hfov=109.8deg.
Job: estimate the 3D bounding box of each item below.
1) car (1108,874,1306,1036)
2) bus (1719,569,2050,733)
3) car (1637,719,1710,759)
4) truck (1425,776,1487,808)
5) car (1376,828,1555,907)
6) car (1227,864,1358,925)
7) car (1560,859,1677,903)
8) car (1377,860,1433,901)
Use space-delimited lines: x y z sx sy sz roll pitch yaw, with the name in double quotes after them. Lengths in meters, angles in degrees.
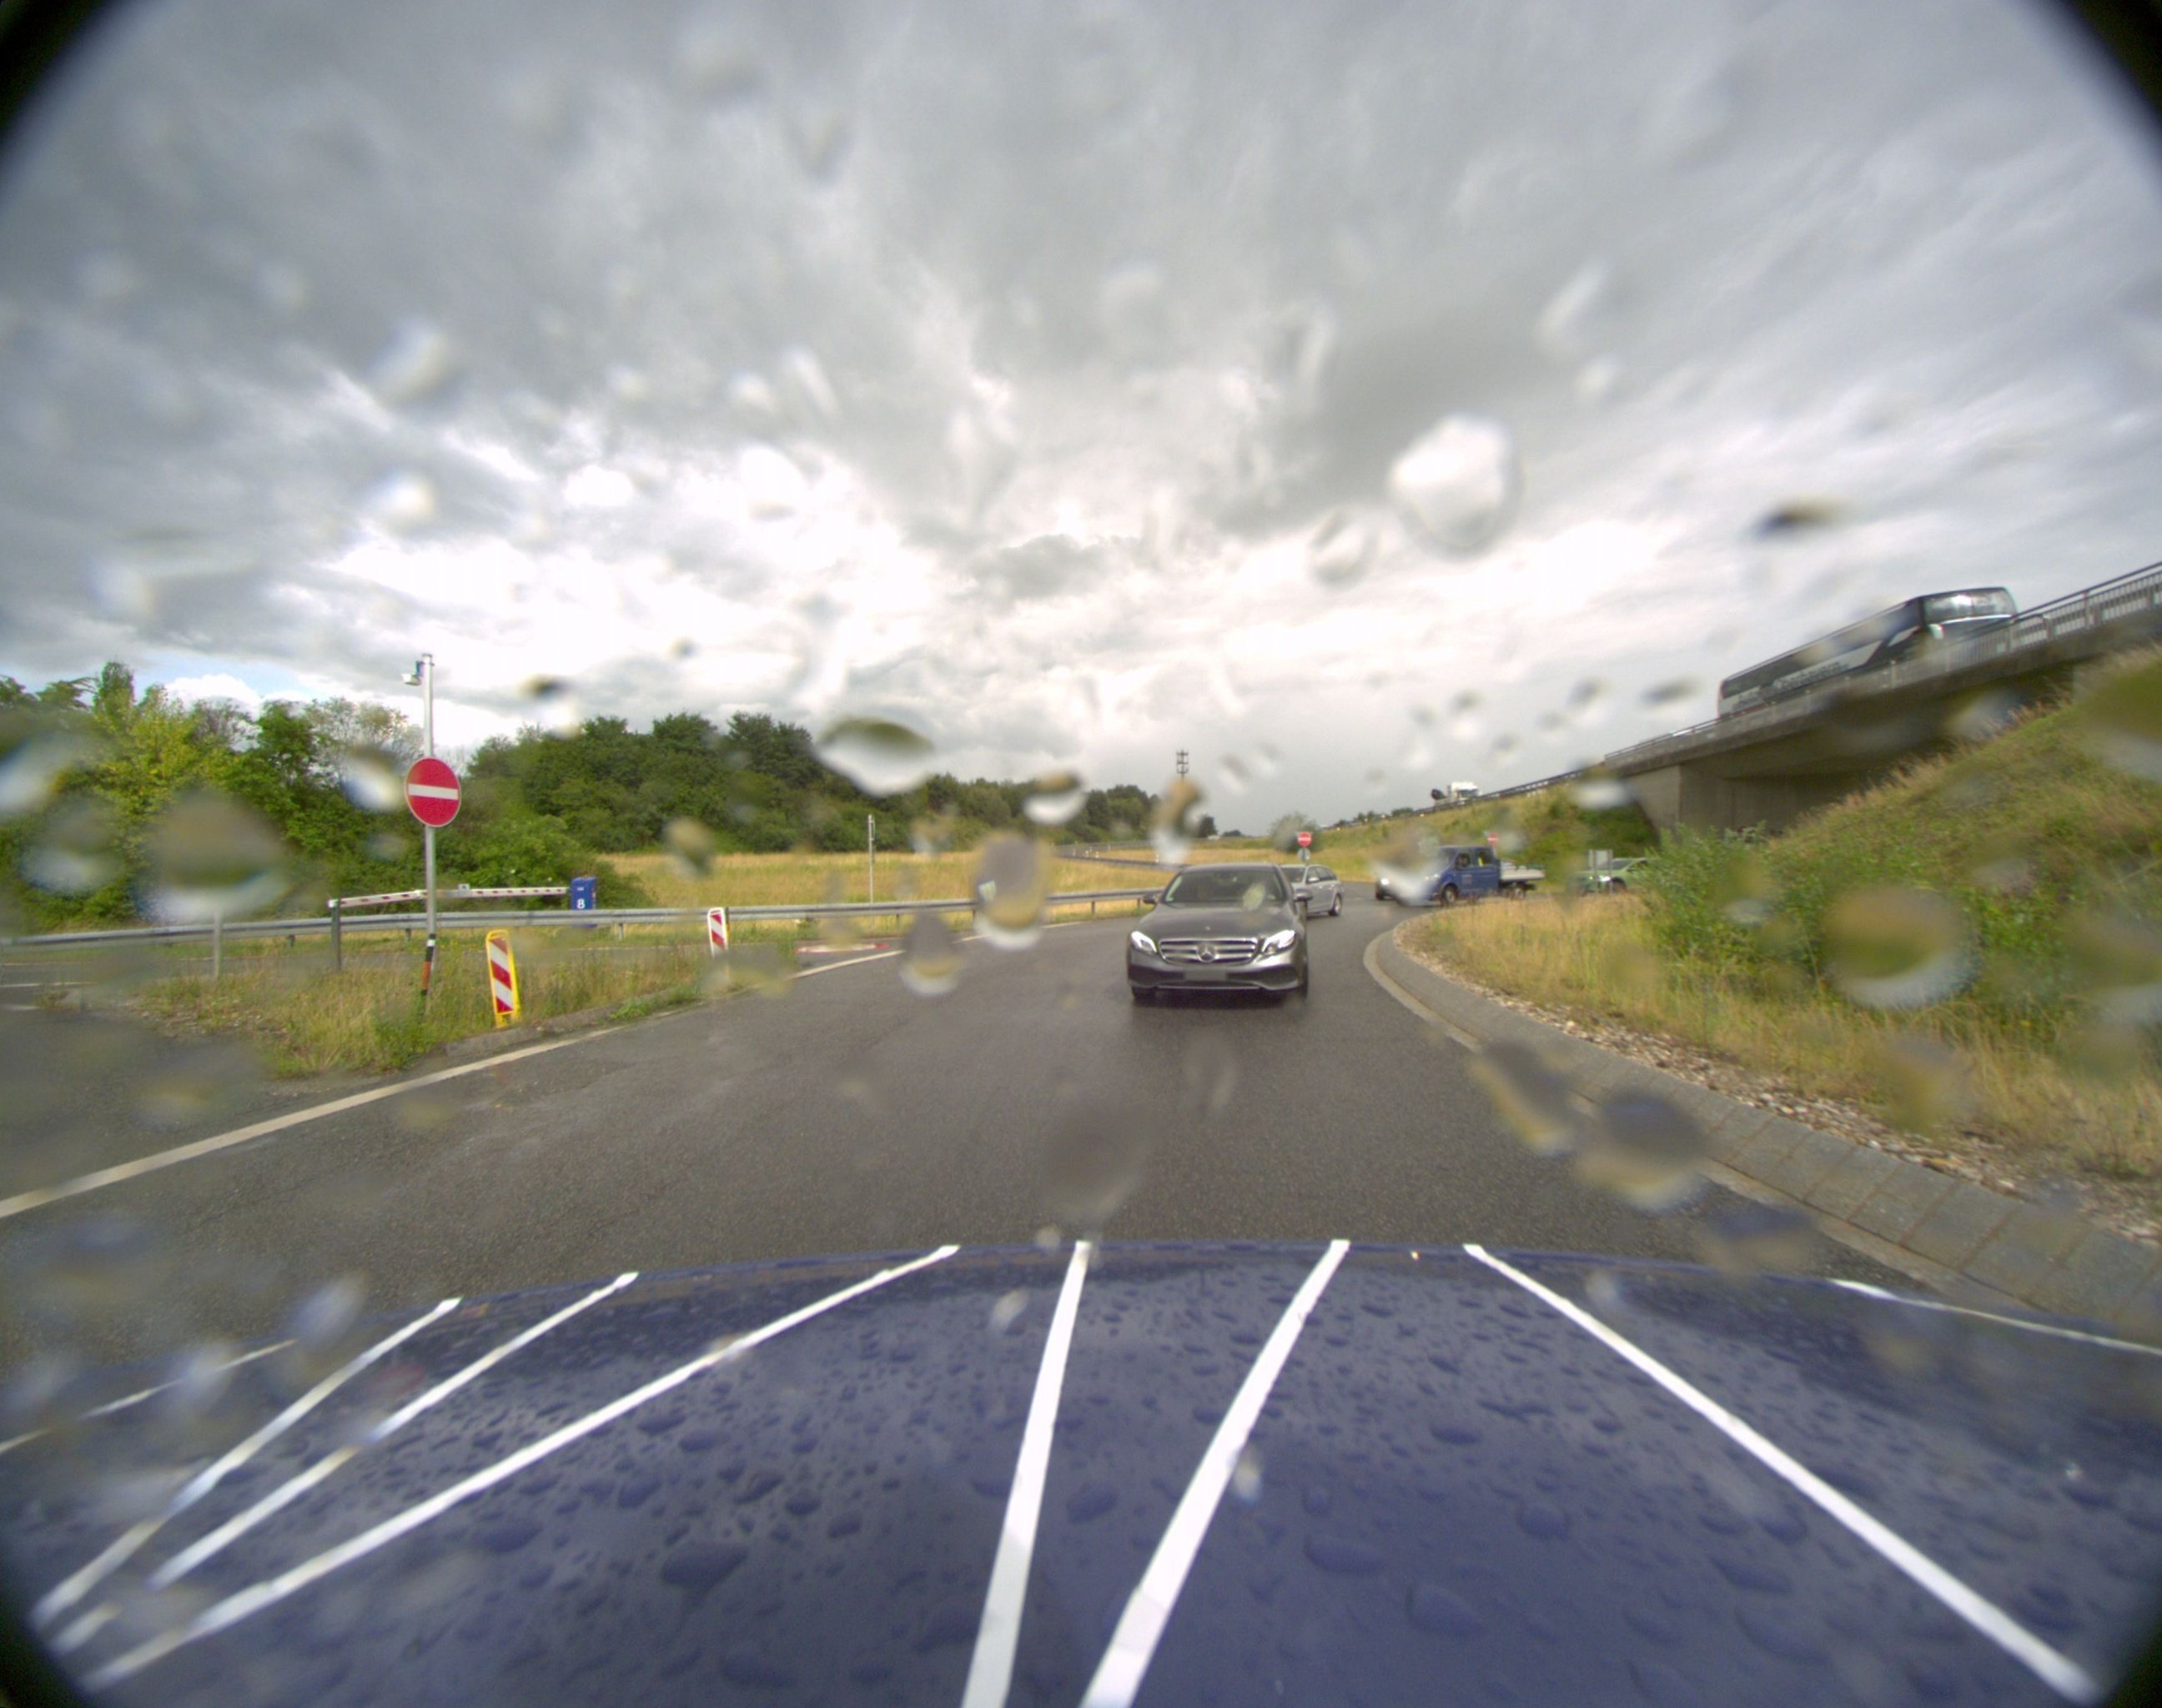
1.744 0.980 9.201 1.768 1.383 4.597 -2 -1 15 "car"
31.980 -7.690 31.732 2.608 3.061 14.481 -2 0 17 "bus"
36.934 -7.120 47.518 1.711 1.517 4.498 -12 -2 14 "car"
46.272 -7.559 94.139 3.158 3.176 9.280 -2 0 2 "truck"
12.446 0.395 24.530 5.687 1.904 1.890 -6 0 -25 "car"
5.557 0.976 19.596 1.793 1.390 4.359 -1 -2 37 "car"
19.823 0.949 28.026 3.932 1.528 1.570 0 0 -20 "car"
12.444 0.972 29.373 1.771 1.476 3.839 0 0 19 "car"
